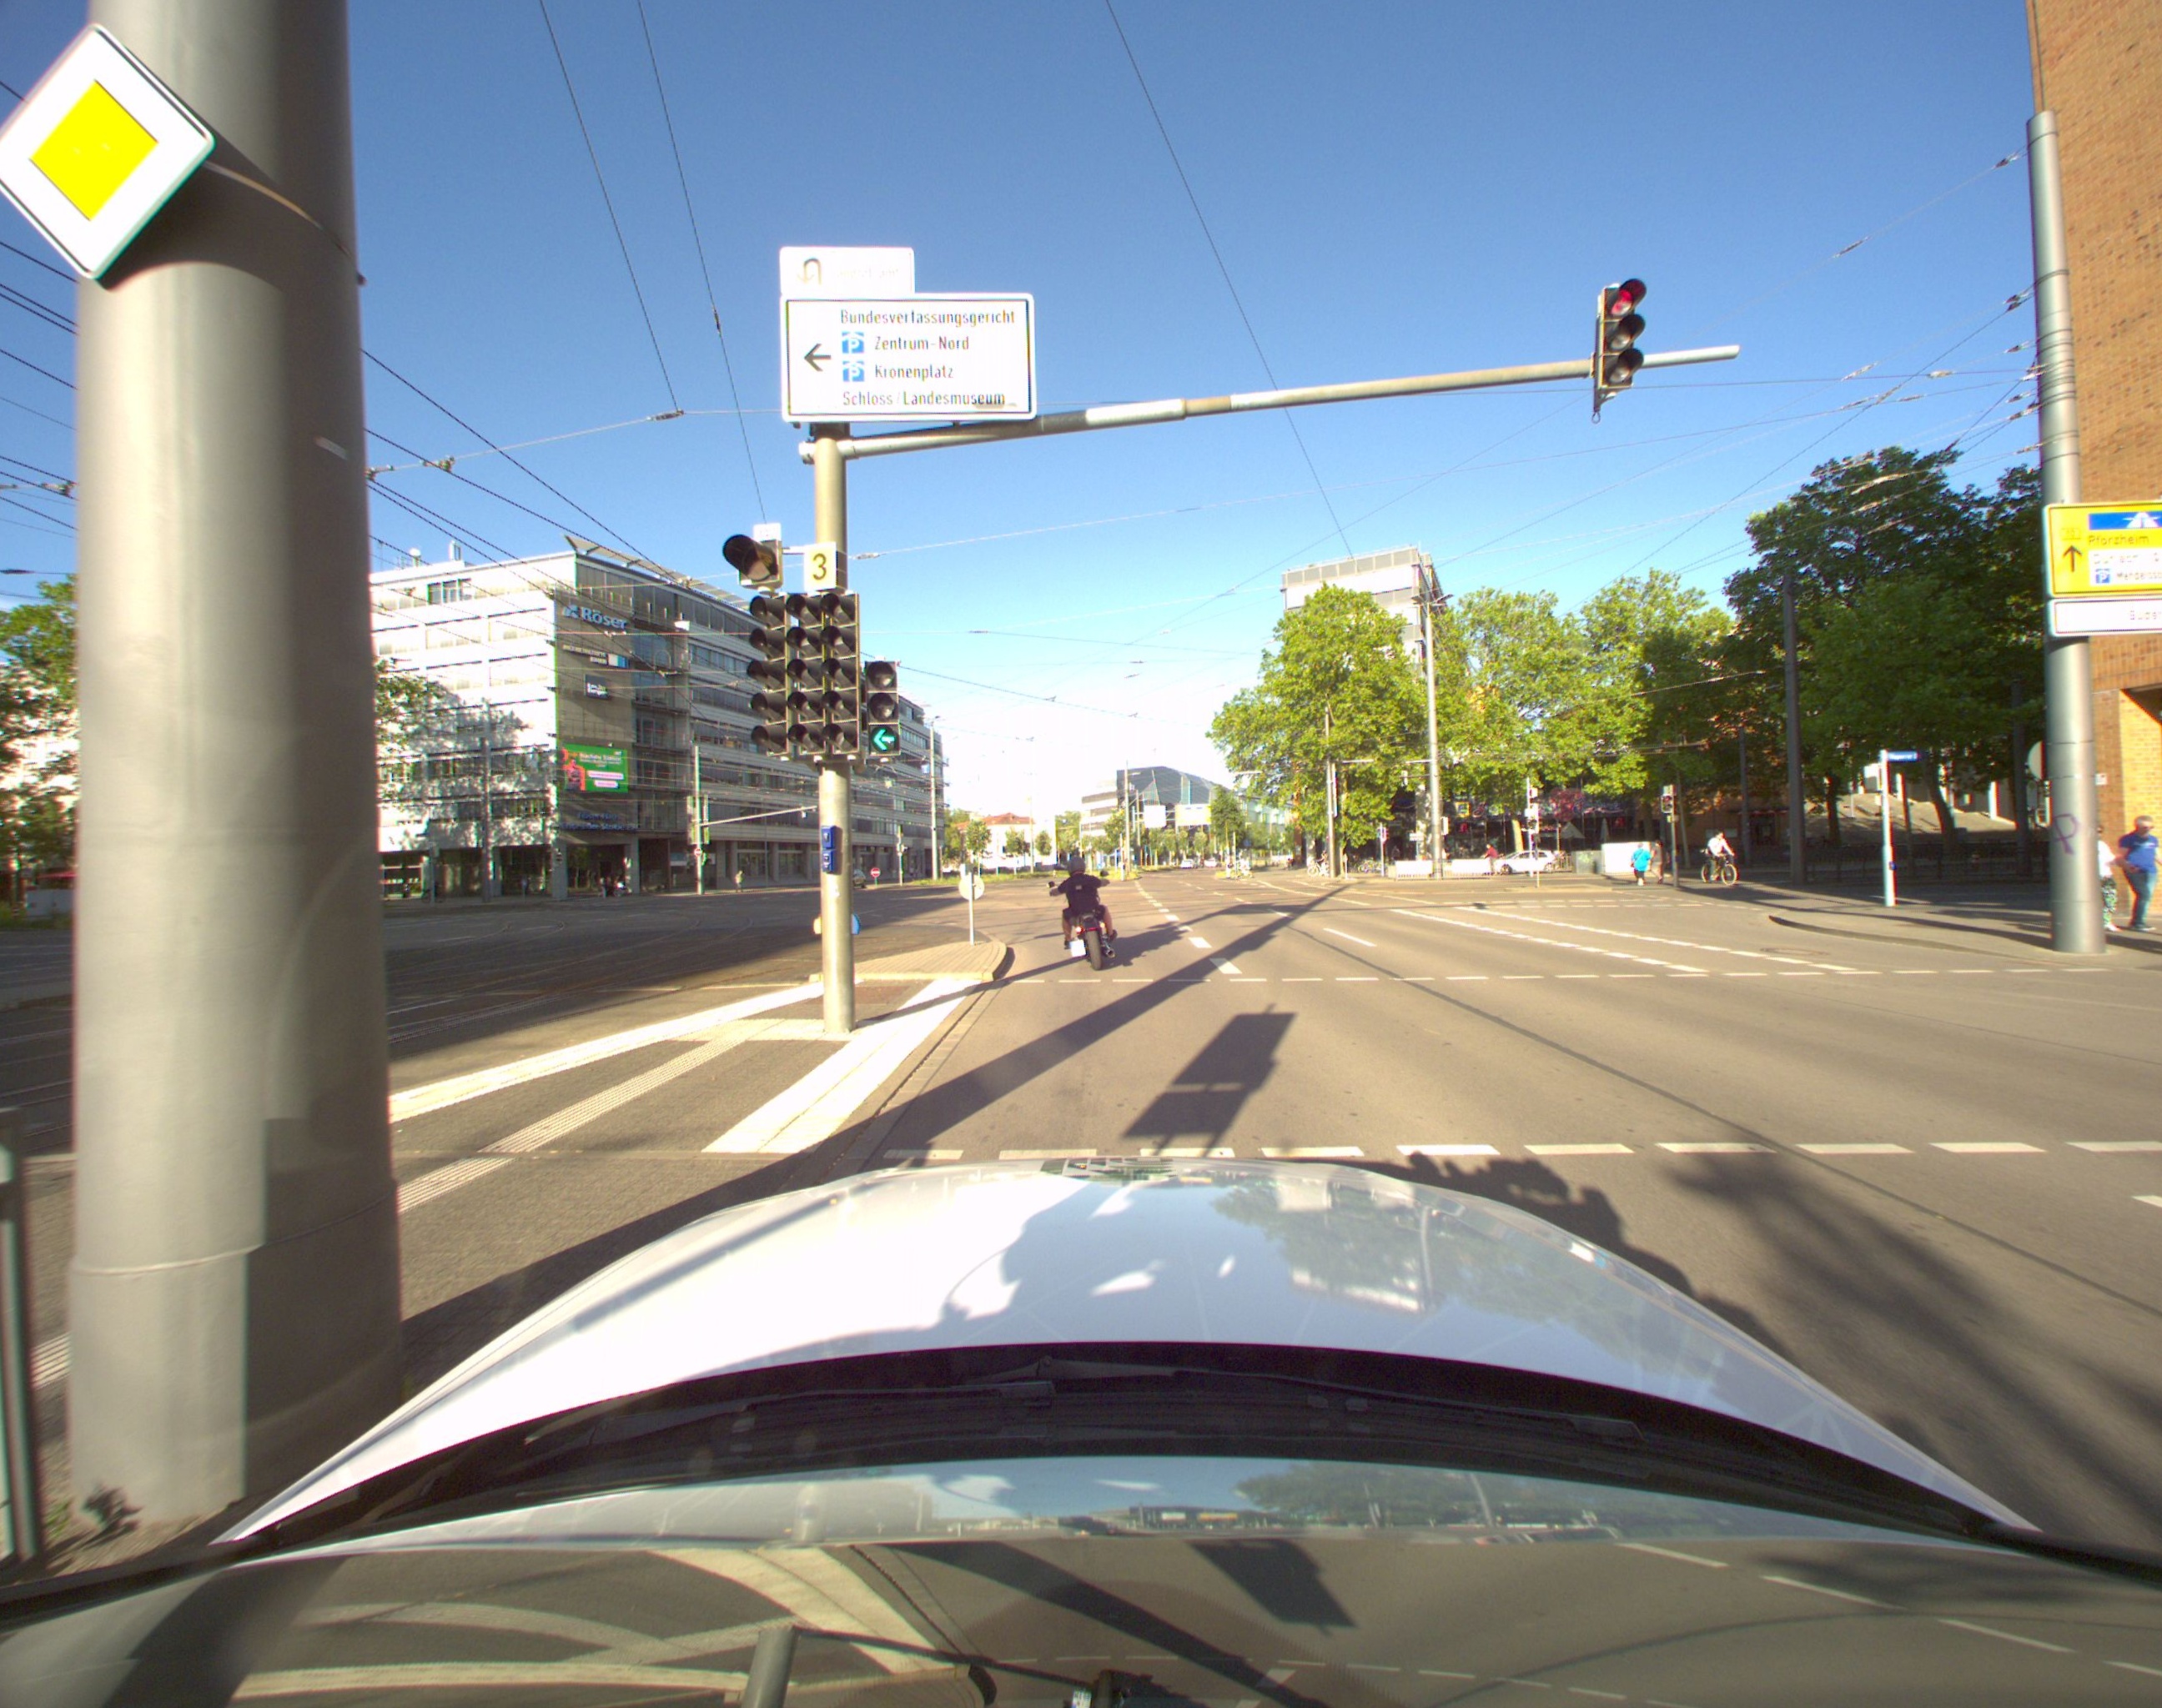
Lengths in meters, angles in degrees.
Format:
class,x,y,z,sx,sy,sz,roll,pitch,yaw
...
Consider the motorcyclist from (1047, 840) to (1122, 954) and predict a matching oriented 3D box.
class,x,y,z,sx,sy,sz,roll,pitch,yaw
motorcyclist,0.029,0.592,11.870,1.019,1.552,1.285,0,-1,-2

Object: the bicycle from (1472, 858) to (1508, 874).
class,x,y,z,sx,sy,sz,roll,pitch,yaw
bicycle,24.788,0.696,49.342,1.844,0.910,0.653,-2,-1,5

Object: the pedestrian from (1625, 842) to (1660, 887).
class,x,y,z,sx,sy,sz,roll,pitch,yaw
pedestrian,19.850,0.368,28.805,0.674,1.540,0.741,0,-1,-6

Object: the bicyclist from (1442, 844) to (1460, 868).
class,x,y,z,sx,sy,sz,roll,pitch,yaw
bicyclist,29.674,0.156,65.369,1.215,1.931,0.840,-2,-1,29

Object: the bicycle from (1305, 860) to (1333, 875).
class,x,y,z,sx,sy,sz,roll,pitch,yaw
bicycle,16.956,0.974,58.115,1.840,1.021,0.518,-2,-1,13

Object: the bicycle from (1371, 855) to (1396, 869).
class,x,y,z,sx,sy,sz,roll,pitch,yaw
bicycle,22.307,0.592,60.016,1.692,0.986,0.392,-2,-1,15

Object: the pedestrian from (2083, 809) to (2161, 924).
class,x,y,z,sx,sy,sz,roll,pitch,yaw
pedestrian,16.028,0.190,12.458,0.599,1.727,0.603,0,-1,2

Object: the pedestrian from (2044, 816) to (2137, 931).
class,x,y,z,sx,sy,sz,roll,pitch,yaw
pedestrian,15.408,0.294,12.442,0.559,1.704,0.659,0,-1,2

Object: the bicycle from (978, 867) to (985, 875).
class,x,y,z,sx,sy,sz,roll,pitch,yaw
bicycle,-14.453,2.493,118.257,0.639,1.107,1.687,-1,0,4

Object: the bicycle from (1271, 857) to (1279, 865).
class,x,y,z,sx,sy,sz,roll,pitch,yaw
bicycle,29.491,1.051,123.687,1.032,1.133,3.193,-2,0,15

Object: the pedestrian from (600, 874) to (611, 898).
class,x,y,z,sx,sy,sz,roll,pitch,yaw
pedestrian,-34.625,2.306,59.291,0.640,1.708,0.576,-1,-1,-28

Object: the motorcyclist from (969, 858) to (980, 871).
class,x,y,z,sx,sy,sz,roll,pitch,yaw
motorcyclist,-14.350,1.398,109.487,1.012,1.731,1.465,-2,-1,13

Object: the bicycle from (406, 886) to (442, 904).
class,x,y,z,sx,sy,sz,roll,pitch,yaw
bicycle,-43.997,2.761,54.539,1.834,1.163,0.613,-1,3,3

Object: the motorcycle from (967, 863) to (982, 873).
class,x,y,z,sx,sy,sz,roll,pitch,yaw
motorcycle,-14.347,1.900,109.400,0.977,1.232,2.953,-2,-1,13

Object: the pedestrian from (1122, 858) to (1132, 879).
class,x,y,z,sx,sy,sz,roll,pitch,yaw
pedestrian,3.498,1.095,61.975,0.654,1.582,0.490,-1,0,5

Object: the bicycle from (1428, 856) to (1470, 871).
class,x,y,z,sx,sy,sz,roll,pitch,yaw
bicycle,29.527,0.753,65.410,3.012,1.113,0.840,-2,-1,29

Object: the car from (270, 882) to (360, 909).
class,x,y,z,sx,sy,sz,roll,pitch,yaw
car,-50.944,2.755,54.221,4.378,1.572,1.869,-2,2,6

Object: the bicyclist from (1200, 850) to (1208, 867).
class,x,y,z,sx,sy,sz,roll,pitch,yaw
bicyclist,19.606,0.755,129.876,1.008,2.624,1.479,-2,-1,19

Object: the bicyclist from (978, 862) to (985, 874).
class,x,y,z,sx,sy,sz,roll,pitch,yaw
bicyclist,-14.432,1.994,118.259,0.760,1.667,0.995,-1,-1,4

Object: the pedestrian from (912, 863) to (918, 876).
class,x,y,z,sx,sy,sz,roll,pitch,yaw
pedestrian,-21.997,2.064,108.133,0.545,1.733,0.643,-2,0,8

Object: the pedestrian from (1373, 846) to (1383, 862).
class,x,y,z,sx,sy,sz,roll,pitch,yaw
pedestrian,27.765,-0.010,76.062,0.769,1.527,0.567,-2,-1,26

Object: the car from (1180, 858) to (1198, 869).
class,x,y,z,sx,sy,sz,roll,pitch,yaw
car,15.883,1.403,119.715,1.886,1.508,4.018,-1,-1,18

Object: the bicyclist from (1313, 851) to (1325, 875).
class,x,y,z,sx,sy,sz,roll,pitch,yaw
bicyclist,16.975,0.626,58.121,0.737,1.694,0.572,-2,-1,13

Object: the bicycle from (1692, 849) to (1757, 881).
class,x,y,z,sx,sy,sz,roll,pitch,yaw
bicycle,22.197,0.387,28.140,0.786,1.052,1.923,0,-1,2

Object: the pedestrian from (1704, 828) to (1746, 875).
class,x,y,z,sx,sy,sz,roll,pitch,yaw
pedestrian,22.193,-0.093,28.097,0.767,1.594,0.838,0,-1,1

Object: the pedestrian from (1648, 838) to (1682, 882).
class,x,y,z,sx,sy,sz,roll,pitch,yaw
pedestrian,20.842,0.226,29.069,0.649,1.540,0.741,0,-1,-6

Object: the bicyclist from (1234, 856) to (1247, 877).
class,x,y,z,sx,sy,sz,roll,pitch,yaw
bicyclist,11.809,0.935,60.230,0.736,1.503,0.573,-3,-1,26

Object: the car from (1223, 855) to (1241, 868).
class,x,y,z,sx,sy,sz,roll,pitch,yaw
car,22.882,1.185,123.641,2.036,1.874,4.247,-1,-1,19

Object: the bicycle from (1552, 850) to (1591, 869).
class,x,y,z,sx,sy,sz,roll,pitch,yaw
bicycle,34.275,0.363,56.882,2.938,1.235,0.870,-2,0,-26

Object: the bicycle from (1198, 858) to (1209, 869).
class,x,y,z,sx,sy,sz,roll,pitch,yaw
bicycle,19.550,1.506,129.754,1.008,1.579,3.592,-2,0,19

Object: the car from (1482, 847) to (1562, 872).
class,x,y,z,sx,sy,sz,roll,pitch,yaw
car,27.570,0.348,51.036,3.967,1.486,2.003,-1,-1,6

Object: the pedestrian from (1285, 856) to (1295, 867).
class,x,y,z,sx,sy,sz,roll,pitch,yaw
pedestrian,21.408,0.788,83.418,0.777,1.057,0.819,-2,0,24

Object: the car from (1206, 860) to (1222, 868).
class,x,y,z,sx,sy,sz,roll,pitch,yaw
car,22.576,1.669,138.503,1.999,1.376,4.058,-2,0,19

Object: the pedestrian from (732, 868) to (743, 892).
class,x,y,z,sx,sy,sz,roll,pitch,yaw
pedestrian,-27.632,2.099,65.438,0.677,1.823,0.880,-2,-1,-19

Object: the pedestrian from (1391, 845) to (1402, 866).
class,x,y,z,sx,sy,sz,roll,pitch,yaw
pedestrian,27.859,0.128,71.995,0.840,1.852,0.813,1,-1,16

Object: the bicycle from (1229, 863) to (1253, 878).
class,x,y,z,sx,sy,sz,roll,pitch,yaw
bicycle,11.813,1.236,60.203,1.612,1.021,0.519,-3,-1,25

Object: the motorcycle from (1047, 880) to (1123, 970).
class,x,y,z,sx,sy,sz,roll,pitch,yaw
motorcycle,0.028,0.976,11.943,1.003,1.125,2.321,0,0,-2

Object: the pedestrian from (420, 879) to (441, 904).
class,x,y,z,sx,sy,sz,roll,pitch,yaw
pedestrian,-43.941,2.540,55.012,0.831,1.611,0.607,-1,2,4

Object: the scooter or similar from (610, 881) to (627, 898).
class,x,y,z,sx,sy,sz,roll,pitch,yaw
scooter or similar,-33.879,2.600,59.666,1.021,1.129,0.545,-1,-1,-28

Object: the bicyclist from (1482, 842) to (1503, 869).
class,x,y,z,sx,sy,sz,roll,pitch,yaw
bicyclist,24.904,0.088,49.307,0.921,1.615,0.638,-2,-1,5

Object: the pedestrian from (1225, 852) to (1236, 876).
class,x,y,z,sx,sy,sz,roll,pitch,yaw
pedestrian,11.414,0.783,62.132,0.693,1.837,0.518,-1,-1,37

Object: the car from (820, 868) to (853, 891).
class,x,y,z,sx,sy,sz,roll,pitch,yaw
car,-17.401,1.787,57.857,1.798,1.466,4.279,-2,0,-21

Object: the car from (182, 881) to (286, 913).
class,x,y,z,sx,sy,sz,roll,pitch,yaw
car,-56.305,2.864,54.196,4.888,1.843,1.930,-2,2,2

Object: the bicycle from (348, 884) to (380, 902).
class,x,y,z,sx,sy,sz,roll,pitch,yaw
bicycle,-51.633,2.815,58.669,0.466,1.151,1.843,-1,1,9
